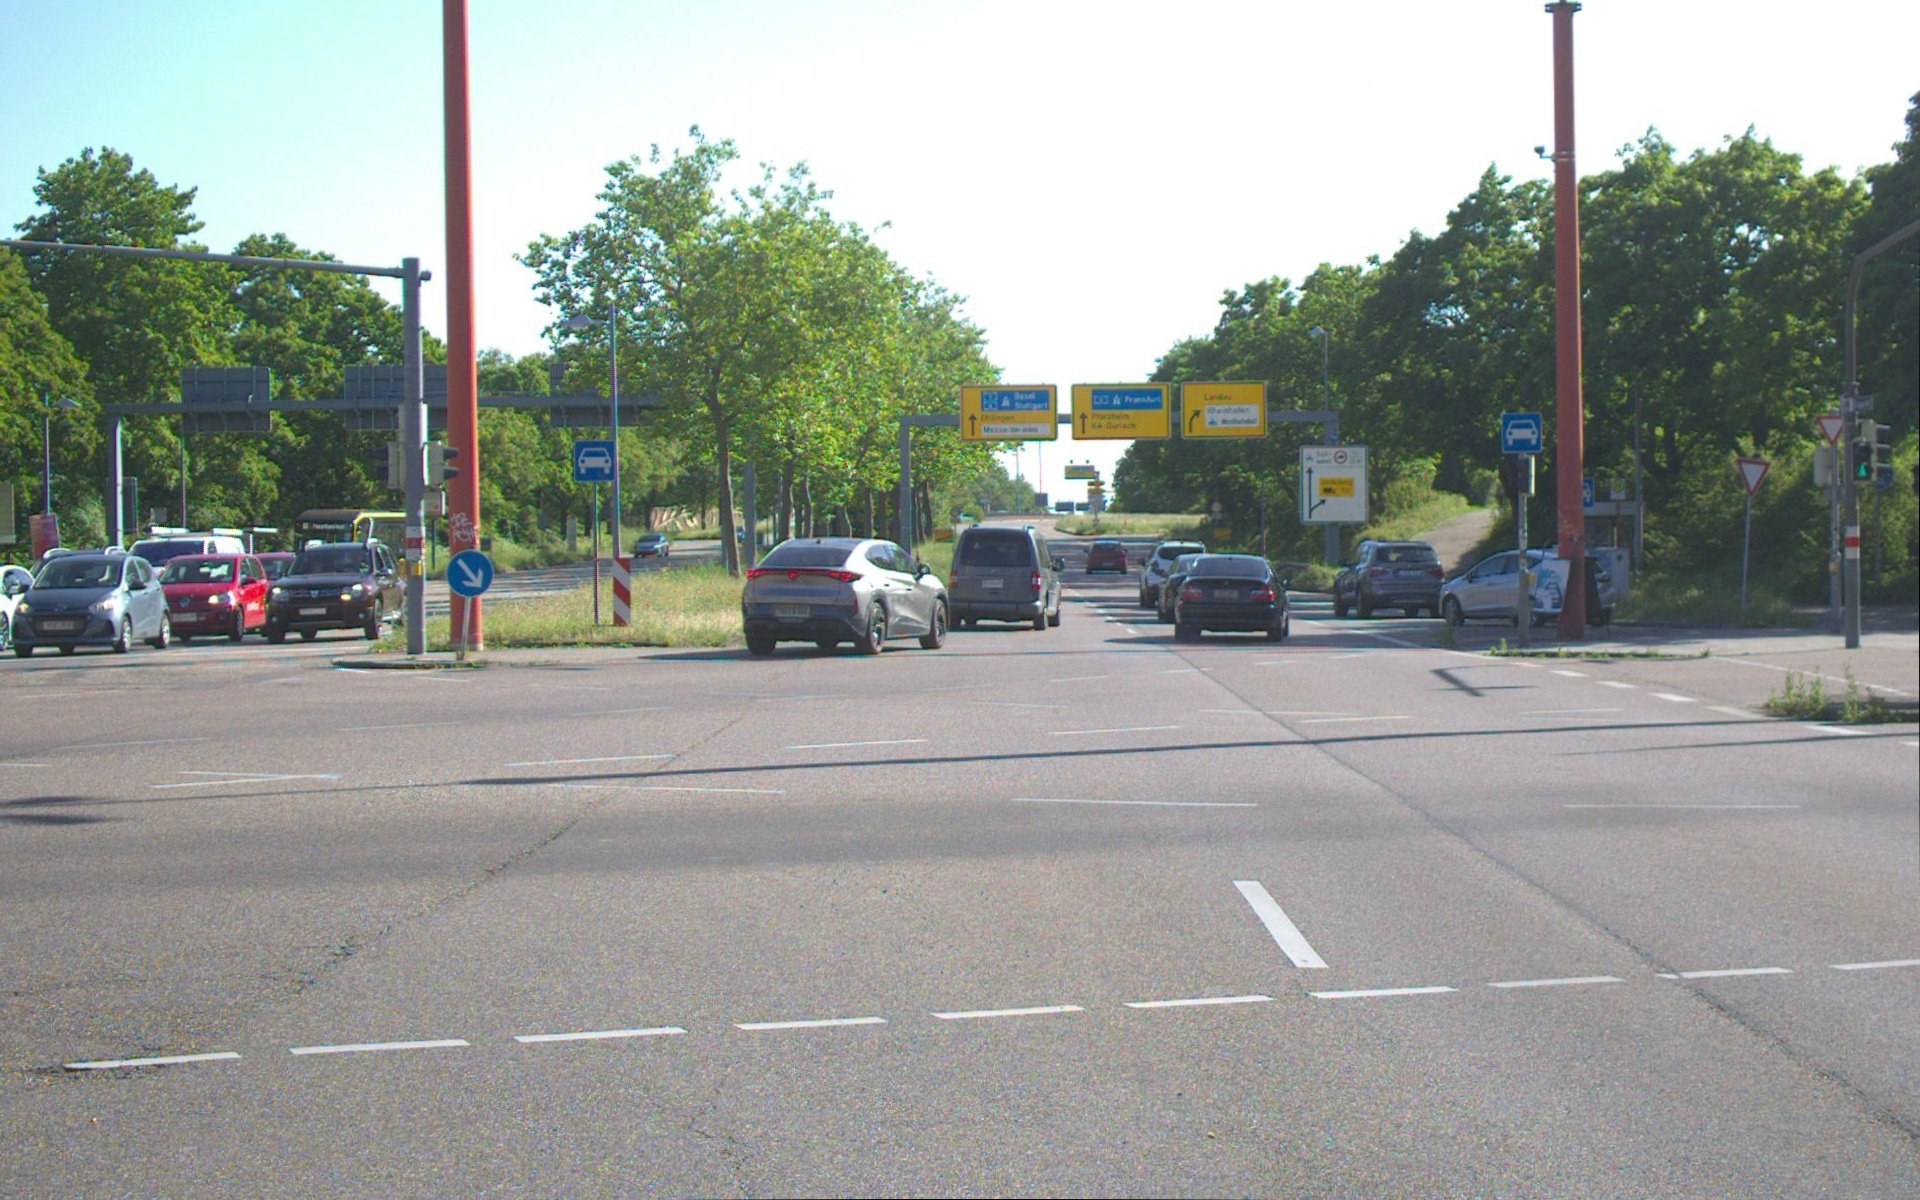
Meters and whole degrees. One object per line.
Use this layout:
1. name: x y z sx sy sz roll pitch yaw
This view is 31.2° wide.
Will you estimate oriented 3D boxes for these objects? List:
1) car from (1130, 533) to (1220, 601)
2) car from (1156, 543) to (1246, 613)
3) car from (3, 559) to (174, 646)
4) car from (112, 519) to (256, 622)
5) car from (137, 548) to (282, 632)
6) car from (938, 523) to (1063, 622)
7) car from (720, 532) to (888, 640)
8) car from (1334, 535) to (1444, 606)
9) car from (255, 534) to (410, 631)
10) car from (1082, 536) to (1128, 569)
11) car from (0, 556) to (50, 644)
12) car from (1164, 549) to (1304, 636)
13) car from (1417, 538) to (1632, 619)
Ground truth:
1. car: 5.306 -0.836 85.286 1.822 1.630 4.253 -1 1 -2
2. car: 4.930 -0.471 69.845 1.760 1.345 4.362 -1 1 5
3. car: -13.110 0.015 51.912 1.739 1.239 3.613 -1 1 -1
4. car: -16.014 -0.604 71.224 1.893 2.019 5.223 1 0 -1
5. car: -12.687 -0.190 58.281 1.739 1.357 3.613 -1 1 -1
6. car: 0.767 -0.521 61.736 1.846 1.702 4.306 0 1 6
7. car: -2.117 -0.219 47.842 1.830 1.417 4.436 -1 1 4
8. car: 9.325 -0.662 74.987 1.779 1.480 4.330 -1 1 -1
9. car: -10.174 -0.313 56.001 1.819 1.503 4.000 -1 1 -1
10. car: 6.335 -2.086 150.415 1.680 1.430 4.065 -1 1 -2
11. car: -16.418 -0.018 57.058 1.739 1.406 3.613 -1 1 -1
12. car: 4.517 -0.144 56.218 1.760 1.345 4.361 0 1 11
13. car: 10.633 -0.420 64.967 1.679 1.462 3.994 -1 1 -36
